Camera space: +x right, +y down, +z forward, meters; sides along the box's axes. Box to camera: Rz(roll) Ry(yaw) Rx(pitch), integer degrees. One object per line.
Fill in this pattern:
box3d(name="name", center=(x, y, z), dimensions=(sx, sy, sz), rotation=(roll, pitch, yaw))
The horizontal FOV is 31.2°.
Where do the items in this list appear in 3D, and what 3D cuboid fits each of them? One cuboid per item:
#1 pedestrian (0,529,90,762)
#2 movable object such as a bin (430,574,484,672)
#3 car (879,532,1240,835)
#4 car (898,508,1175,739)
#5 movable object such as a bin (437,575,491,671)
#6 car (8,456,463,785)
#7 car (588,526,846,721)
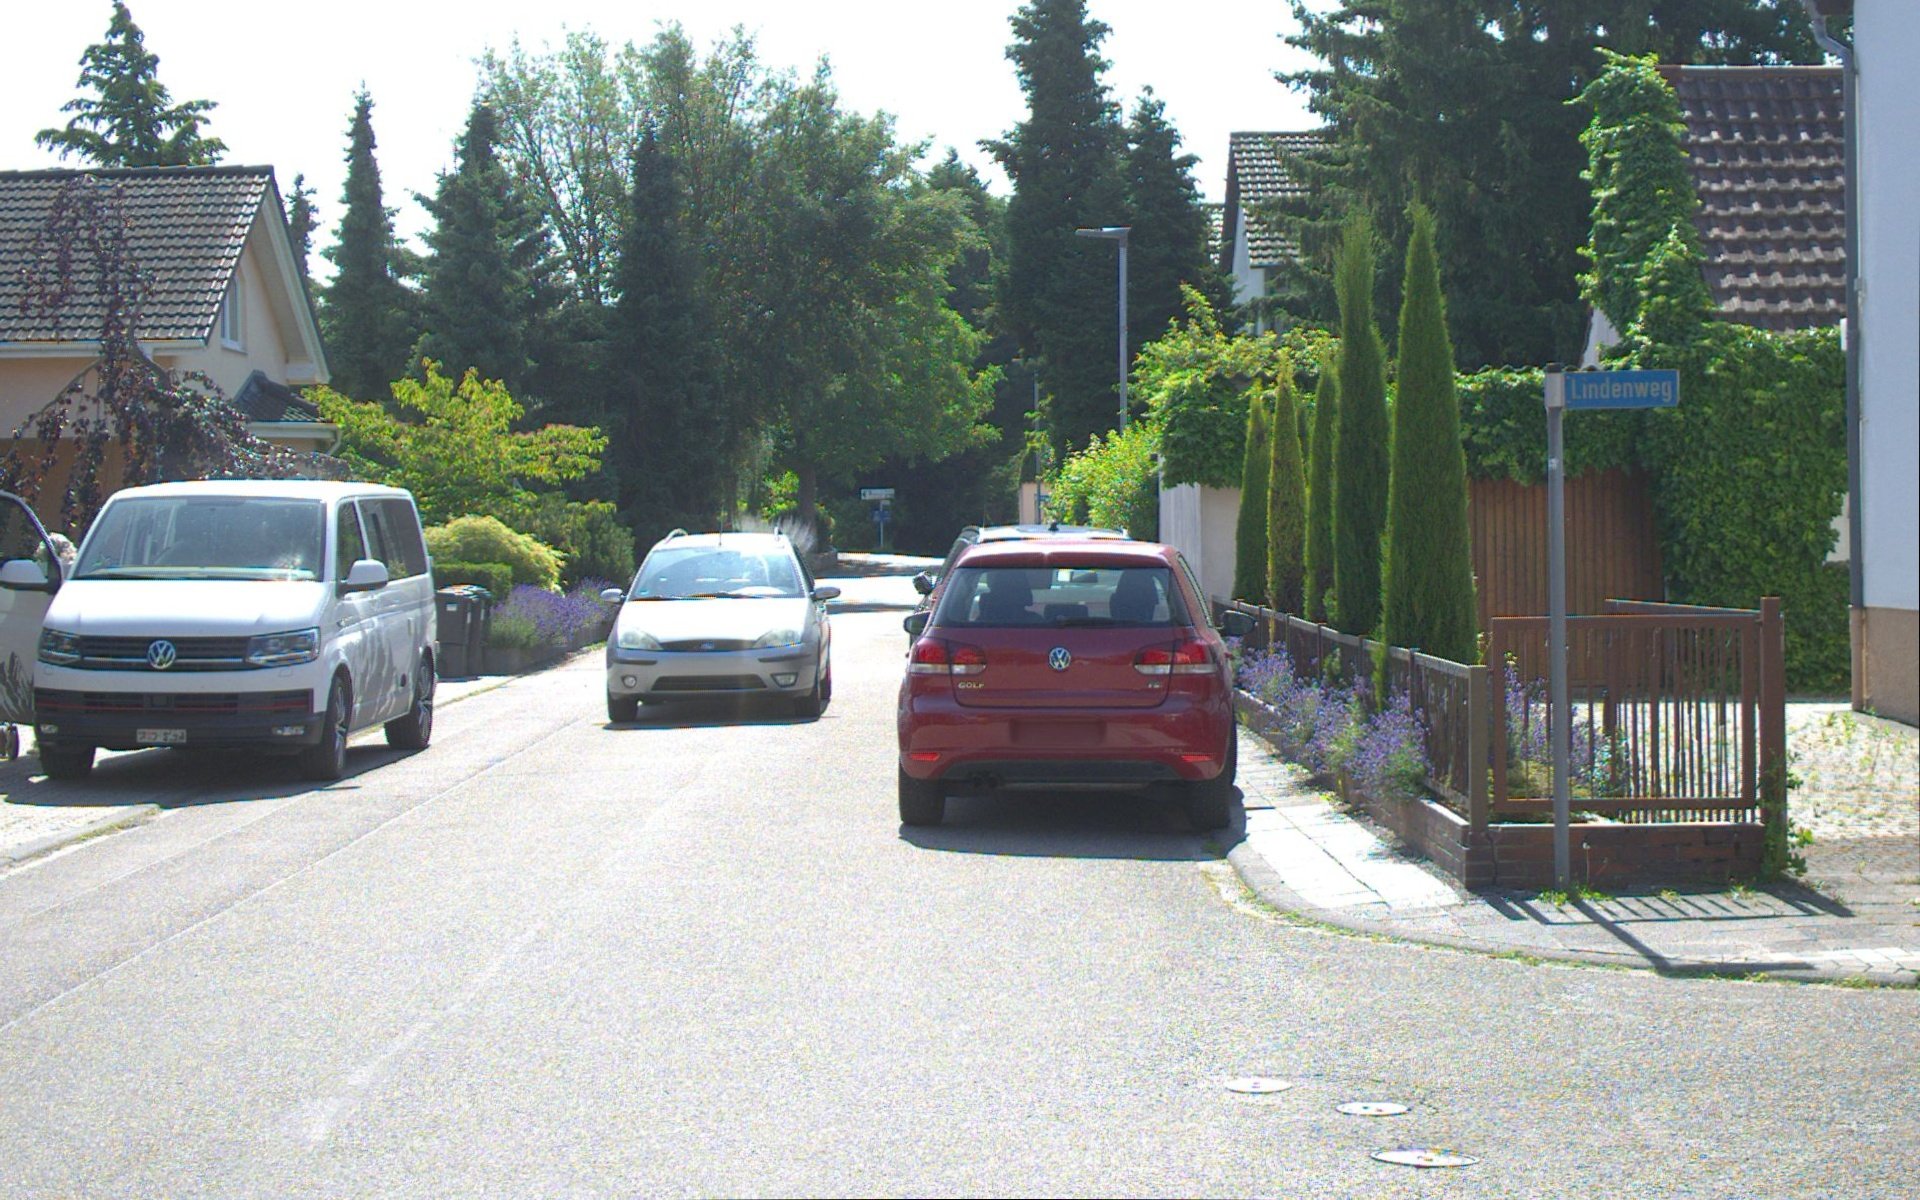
box3d(name="pedestrian", center=(-6.375, 0.292, 23.213), dimensions=(0.718, 1.533, 0.641), rotation=(1, 2, 34))
box3d(name="movable object such as a bin", center=(-5.365, 0.244, 36.691), dimensions=(0.494, 1.021, 0.447), rotation=(-1, 1, 0))
box3d(name="car", center=(0.614, 0.376, 19.169), dimensions=(1.775, 1.474, 4.000), rotation=(1, 1, 3))
box3d(name="car", center=(0.498, 0.124, 25.940), dimensions=(1.822, 1.610, 4.001), rotation=(0, 1, -2))
box3d(name="movable object such as a bin", center=(-5.359, 0.244, 37.153), dimensions=(0.494, 1.021, 0.447), rotation=(-1, 1, 0))
box3d(name="car", center=(-4.800, 0.078, 23.536), dimensions=(1.929, 2.007, 4.896), rotation=(0, 1, 2))
box3d(name="car", center=(-1.960, 0.137, 28.861), dimensions=(1.752, 1.482, 4.376), rotation=(-1, 1, 1))
